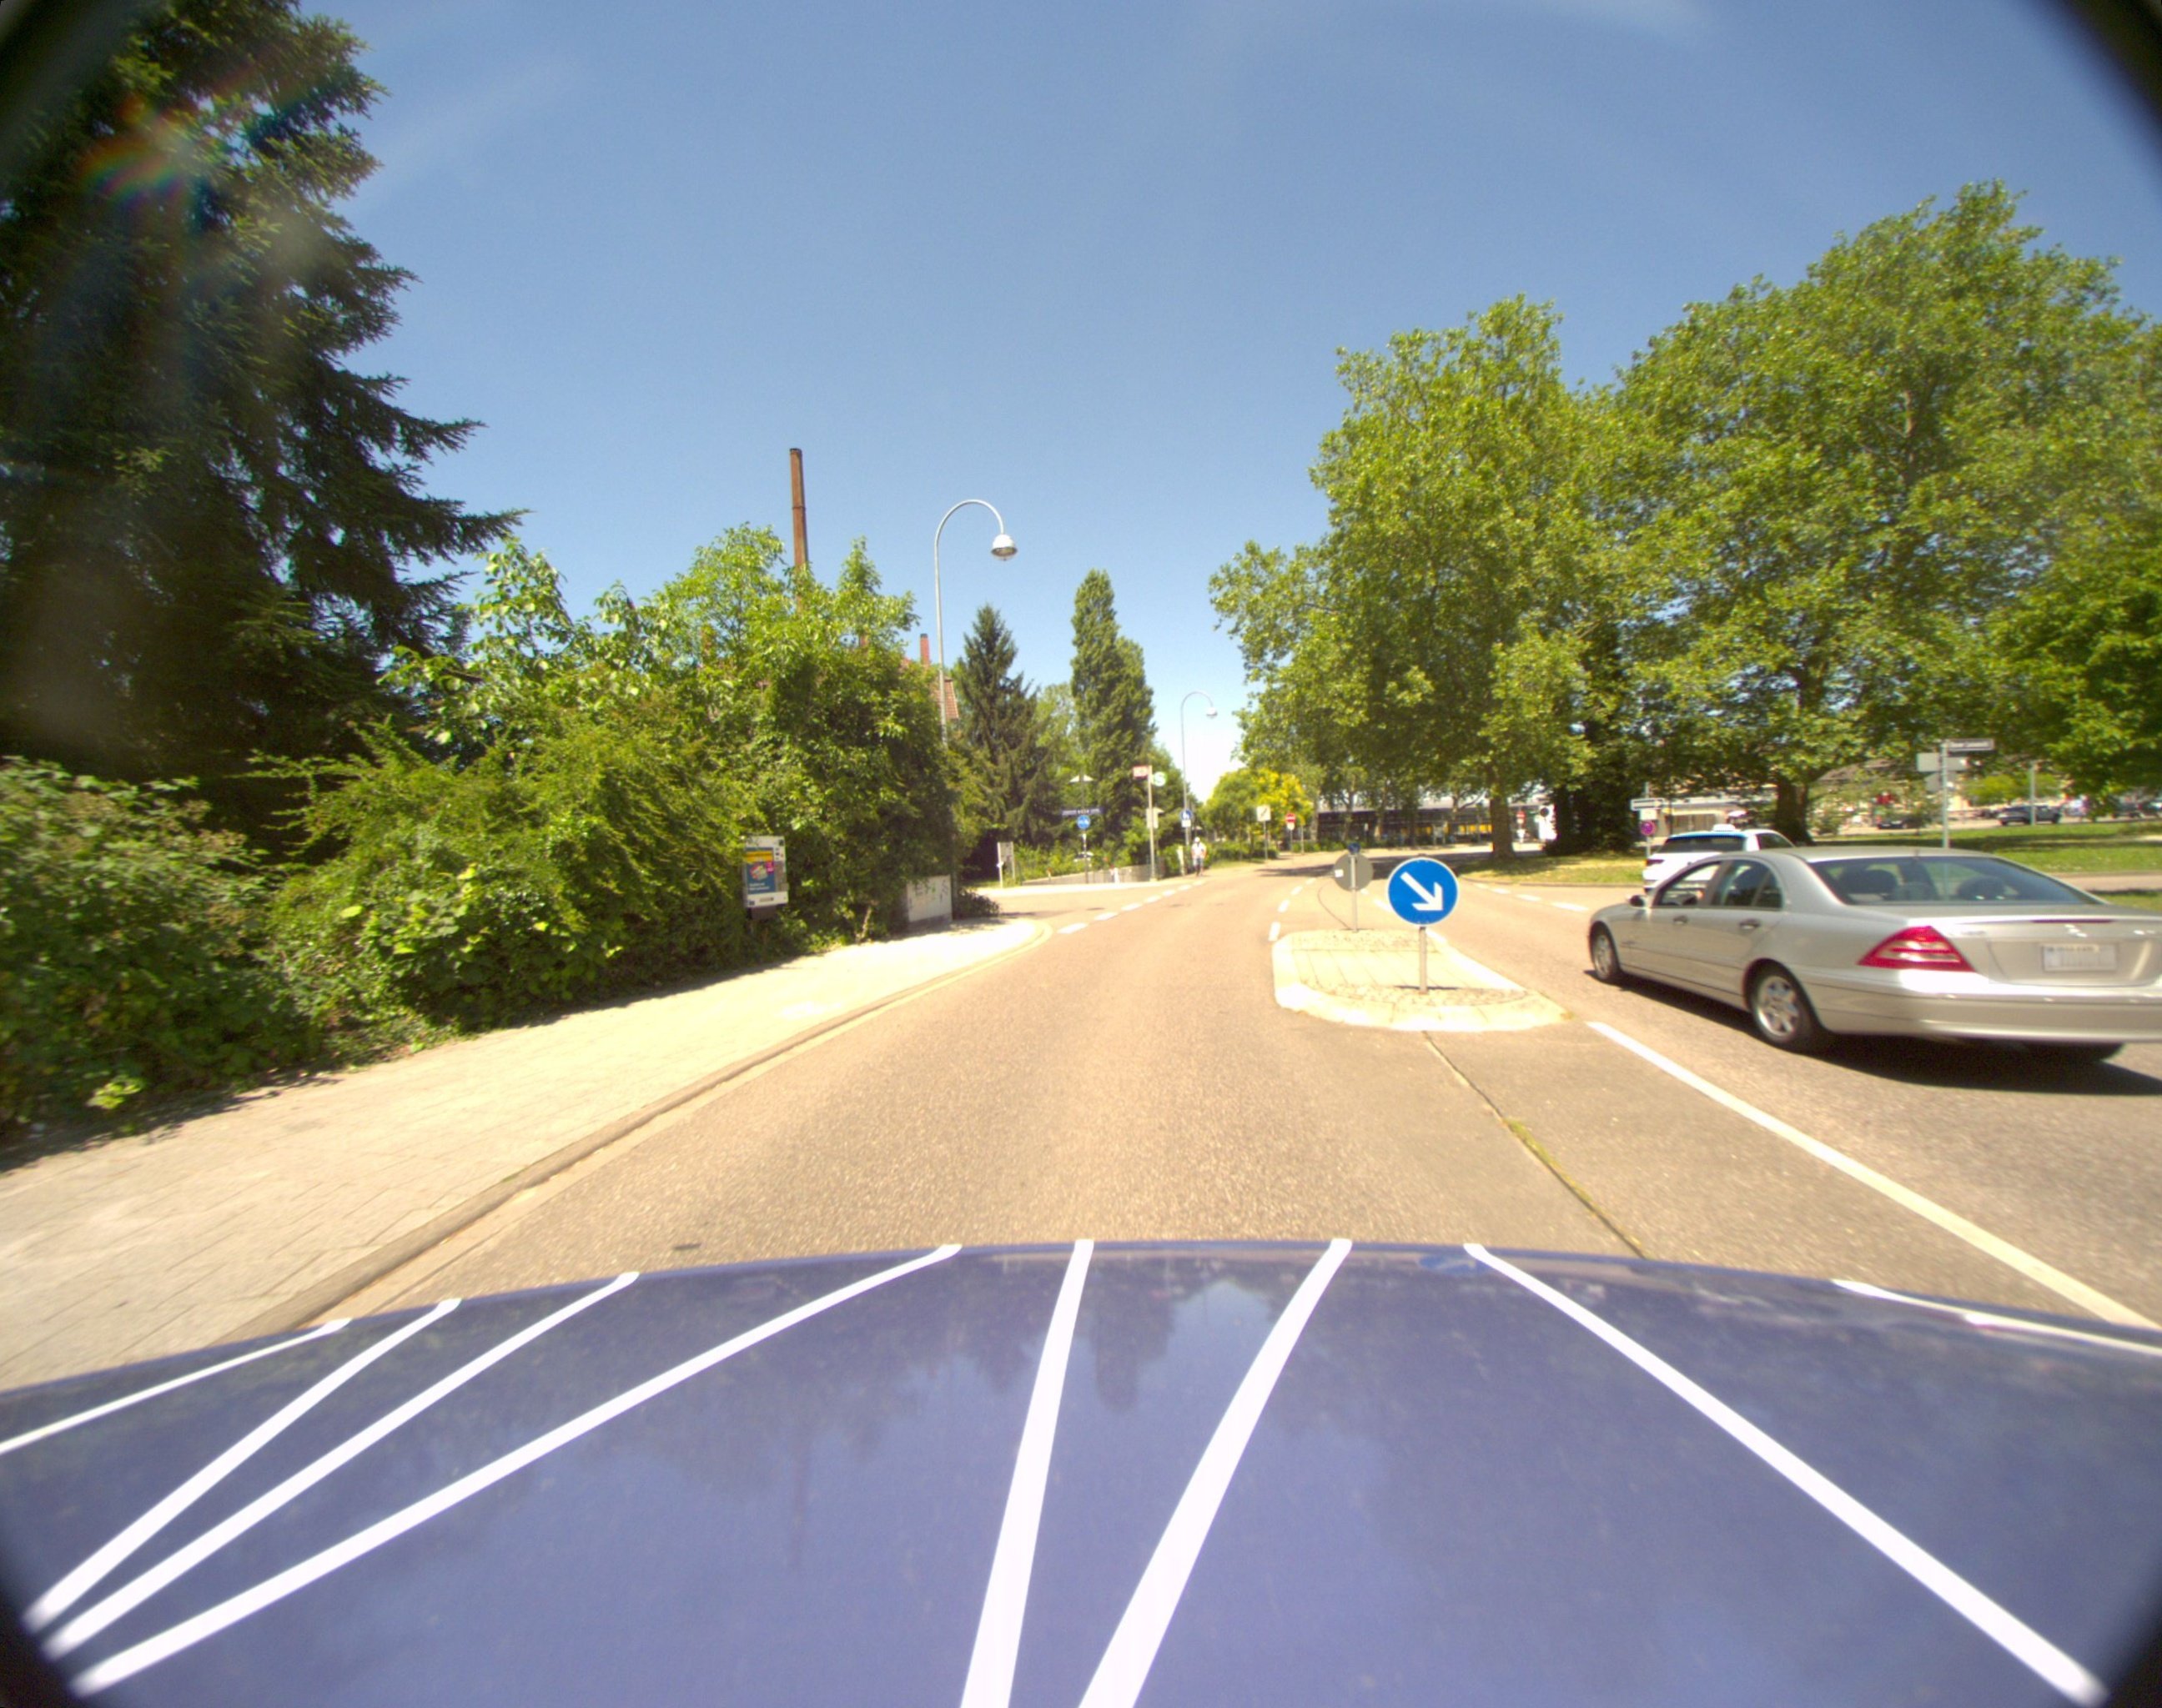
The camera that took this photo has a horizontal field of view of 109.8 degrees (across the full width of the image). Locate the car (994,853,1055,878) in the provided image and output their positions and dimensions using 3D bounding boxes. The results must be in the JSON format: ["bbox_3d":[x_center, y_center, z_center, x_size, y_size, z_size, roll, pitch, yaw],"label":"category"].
[{"bbox_3d":[-3.881,0.762,51.873,3.969,1.527,1.654,-3,0,-9],"label":"car"}]

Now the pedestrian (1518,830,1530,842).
[{"bbox_3d":[54.778,-2.240,93.924,0.831,1.378,0.962,-3,1,-12],"label":"pedestrian"}]

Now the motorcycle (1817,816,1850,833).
[{"bbox_3d":[58.276,-2.293,58.833,2.051,1.224,0.809,-3,1,-14],"label":"motorcycle"}]

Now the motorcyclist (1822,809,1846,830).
[{"bbox_3d":[58.308,-2.683,58.841,1.105,1.546,0.809,-3,1,-13],"label":"motorcyclist"}]

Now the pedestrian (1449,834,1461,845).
[{"bbox_3d":[45.105,-1.739,91.587,0.868,1.267,0.830,-3,1,-17],"label":"pedestrian"}]

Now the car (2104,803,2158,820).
[{"bbox_3d":[93.350,-3.751,67.565,4.003,1.409,1.643,-2,2,-18],"label":"car"}]

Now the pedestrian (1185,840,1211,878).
[{"bbox_3d":[5.549,0.221,36.009,0.912,1.762,0.917,1,2,37],"label":"pedestrian"}]

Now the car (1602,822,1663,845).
[{"bbox_3d":[42.149,-1.554,58.050,4.186,1.536,1.776,-3,2,-21],"label":"car"}]

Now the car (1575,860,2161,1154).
[{"bbox_3d":[5.826,0.810,6.047,1.761,1.427,4.307,-1,1,12],"label":"car"}]

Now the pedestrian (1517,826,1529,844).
[{"bbox_3d":[44.389,-1.893,76.275,0.912,1.726,0.677,-2,1,35],"label":"pedestrian"}]

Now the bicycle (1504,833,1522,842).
[{"bbox_3d":[54.870,-2.112,96.520,0.670,1.067,2.166,-6,3,-16],"label":"bicycle"}]

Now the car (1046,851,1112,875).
[{"bbox_3d":[-0.163,0.616,55.323,4.501,1.491,1.768,-3,0,-13],"label":"car"}]

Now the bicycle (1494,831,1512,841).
[{"bbox_3d":[55.466,-2.327,99.855,2.169,1.068,0.669,-6,3,-10],"label":"bicycle"}]

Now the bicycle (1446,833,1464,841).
[{"bbox_3d":[50.396,-2.300,102.513,0.671,1.067,2.165,-7,3,-26],"label":"bicycle"}]

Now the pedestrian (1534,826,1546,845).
[{"bbox_3d":[45.483,-1.831,75.283,0.913,1.774,0.696,-2,1,26],"label":"pedestrian"}]

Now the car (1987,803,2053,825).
[{"bbox_3d":[79.467,-3.397,64.315,4.326,1.737,2.046,-2,2,-17],"label":"car"}]

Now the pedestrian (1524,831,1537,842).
[{"bbox_3d":[55.728,-2.180,94.204,0.831,1.297,0.962,-3,1,-12],"label":"pedestrian"}]

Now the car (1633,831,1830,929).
[{"bbox_3d":[12.790,0.424,14.869,4.311,1.613,1.874,-2,0,-35],"label":"car"}]

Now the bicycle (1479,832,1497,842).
[{"bbox_3d":[54.930,-2.290,102.560,2.169,1.068,0.669,-6,3,-10],"label":"bicycle"}]
